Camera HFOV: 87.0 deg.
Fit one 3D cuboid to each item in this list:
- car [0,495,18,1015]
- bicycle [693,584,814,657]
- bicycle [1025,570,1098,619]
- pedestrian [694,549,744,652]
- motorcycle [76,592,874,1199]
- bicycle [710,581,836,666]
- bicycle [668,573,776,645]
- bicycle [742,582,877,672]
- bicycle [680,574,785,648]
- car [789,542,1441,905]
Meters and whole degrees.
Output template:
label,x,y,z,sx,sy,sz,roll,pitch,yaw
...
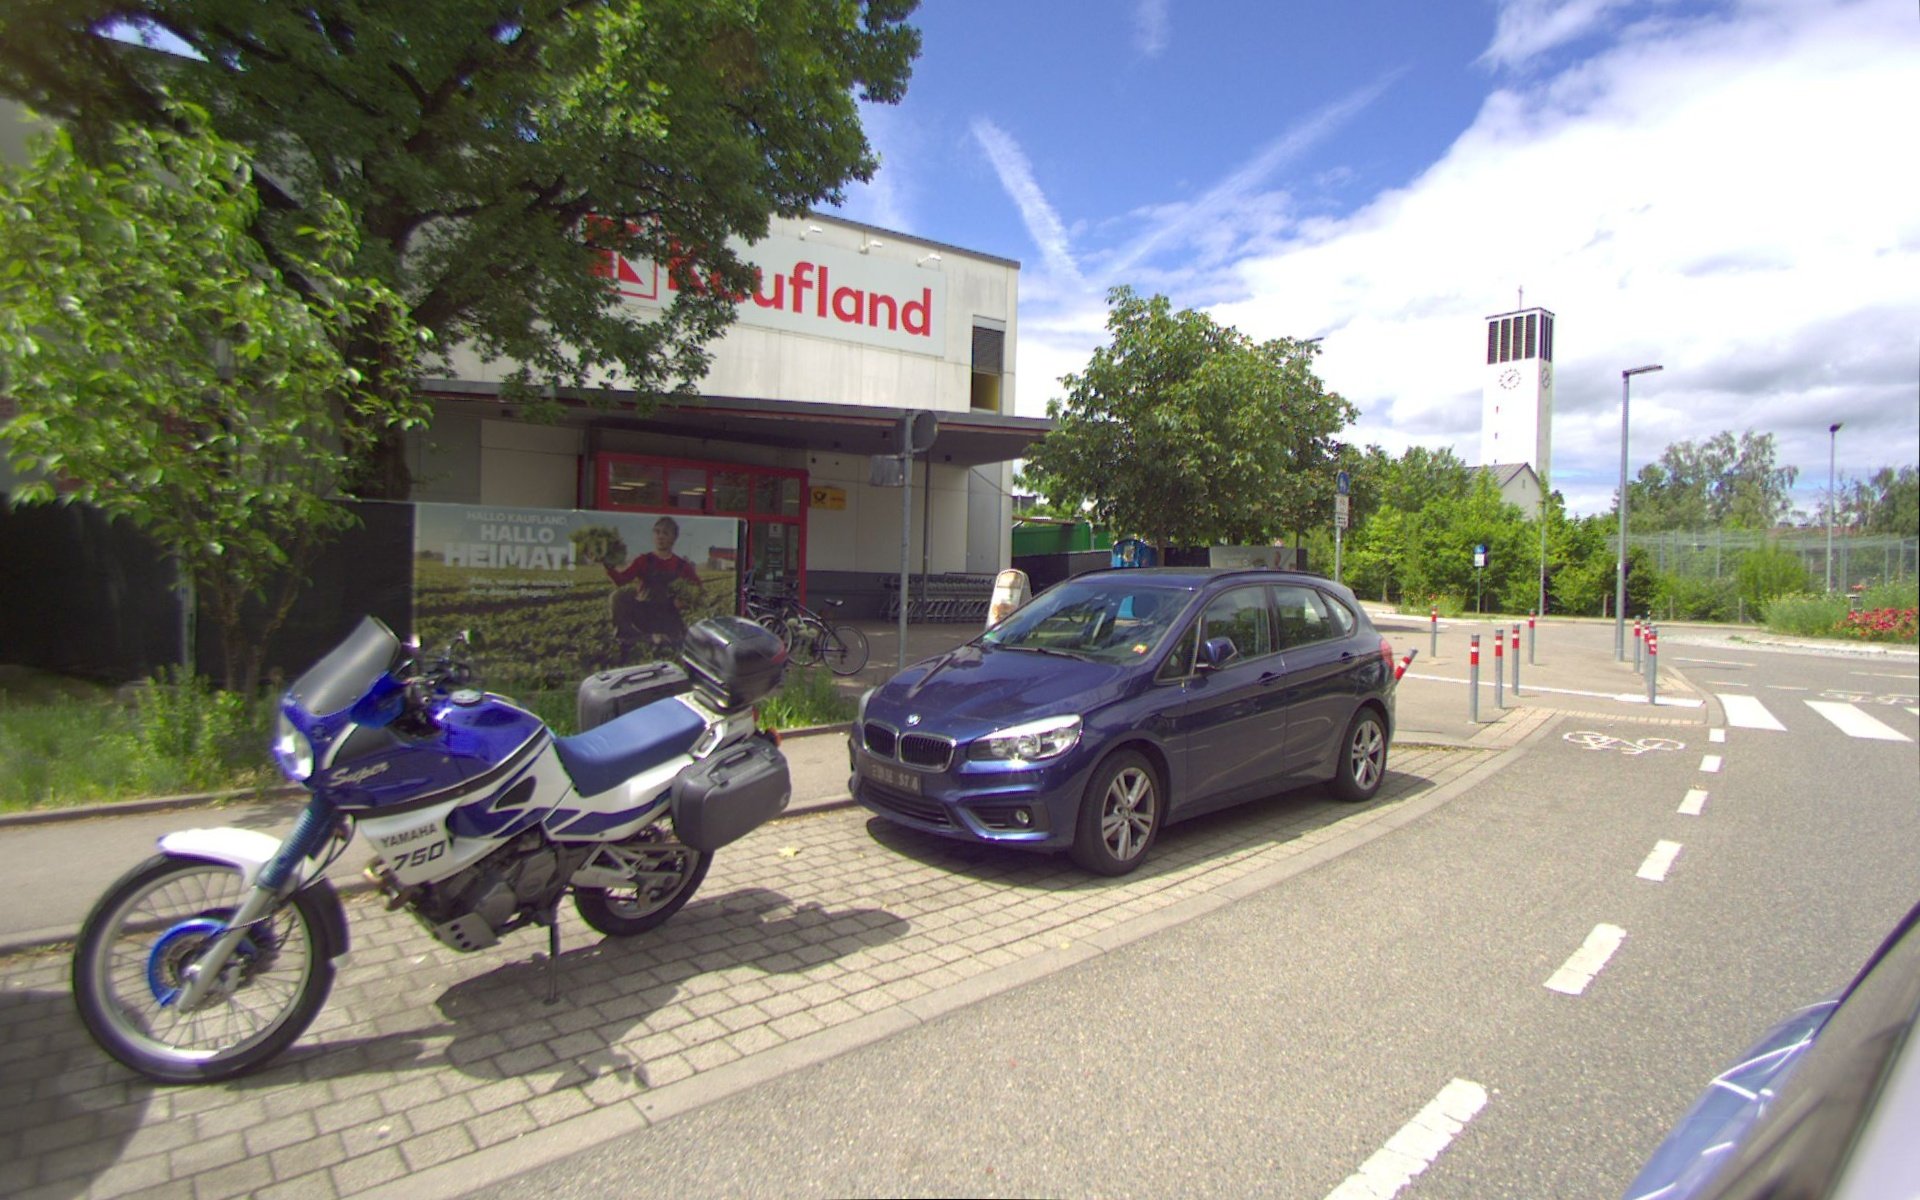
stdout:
label,x,y,z,sx,sy,sz,roll,pitch,yaw
car,-4.617,0.533,1.370,4.760,1.641,1.883,-1,3,-40
bicycle,-3.150,0.294,15.512,1.768,1.053,0.521,0,2,-37
bicycle,2.639,-0.159,26.244,1.754,1.249,0.709,1,1,26
pedestrian,-4.316,-0.006,18.118,0.733,1.778,0.626,0,3,-27
motorcycle,-1.521,0.672,3.436,2.221,1.321,1.073,-1,4,-42
bicycle,-2.678,0.321,14.481,1.735,1.170,0.502,0,1,-16
bicycle,-4.027,0.133,17.159,1.733,1.170,0.440,0,1,-32
bicycle,-2.036,0.345,13.728,1.753,1.170,0.452,0,1,-20
bicycle,-3.710,0.169,16.557,1.628,1.170,0.426,0,1,-30
car,1.256,0.486,6.667,4.354,1.597,1.920,-1,3,-42
